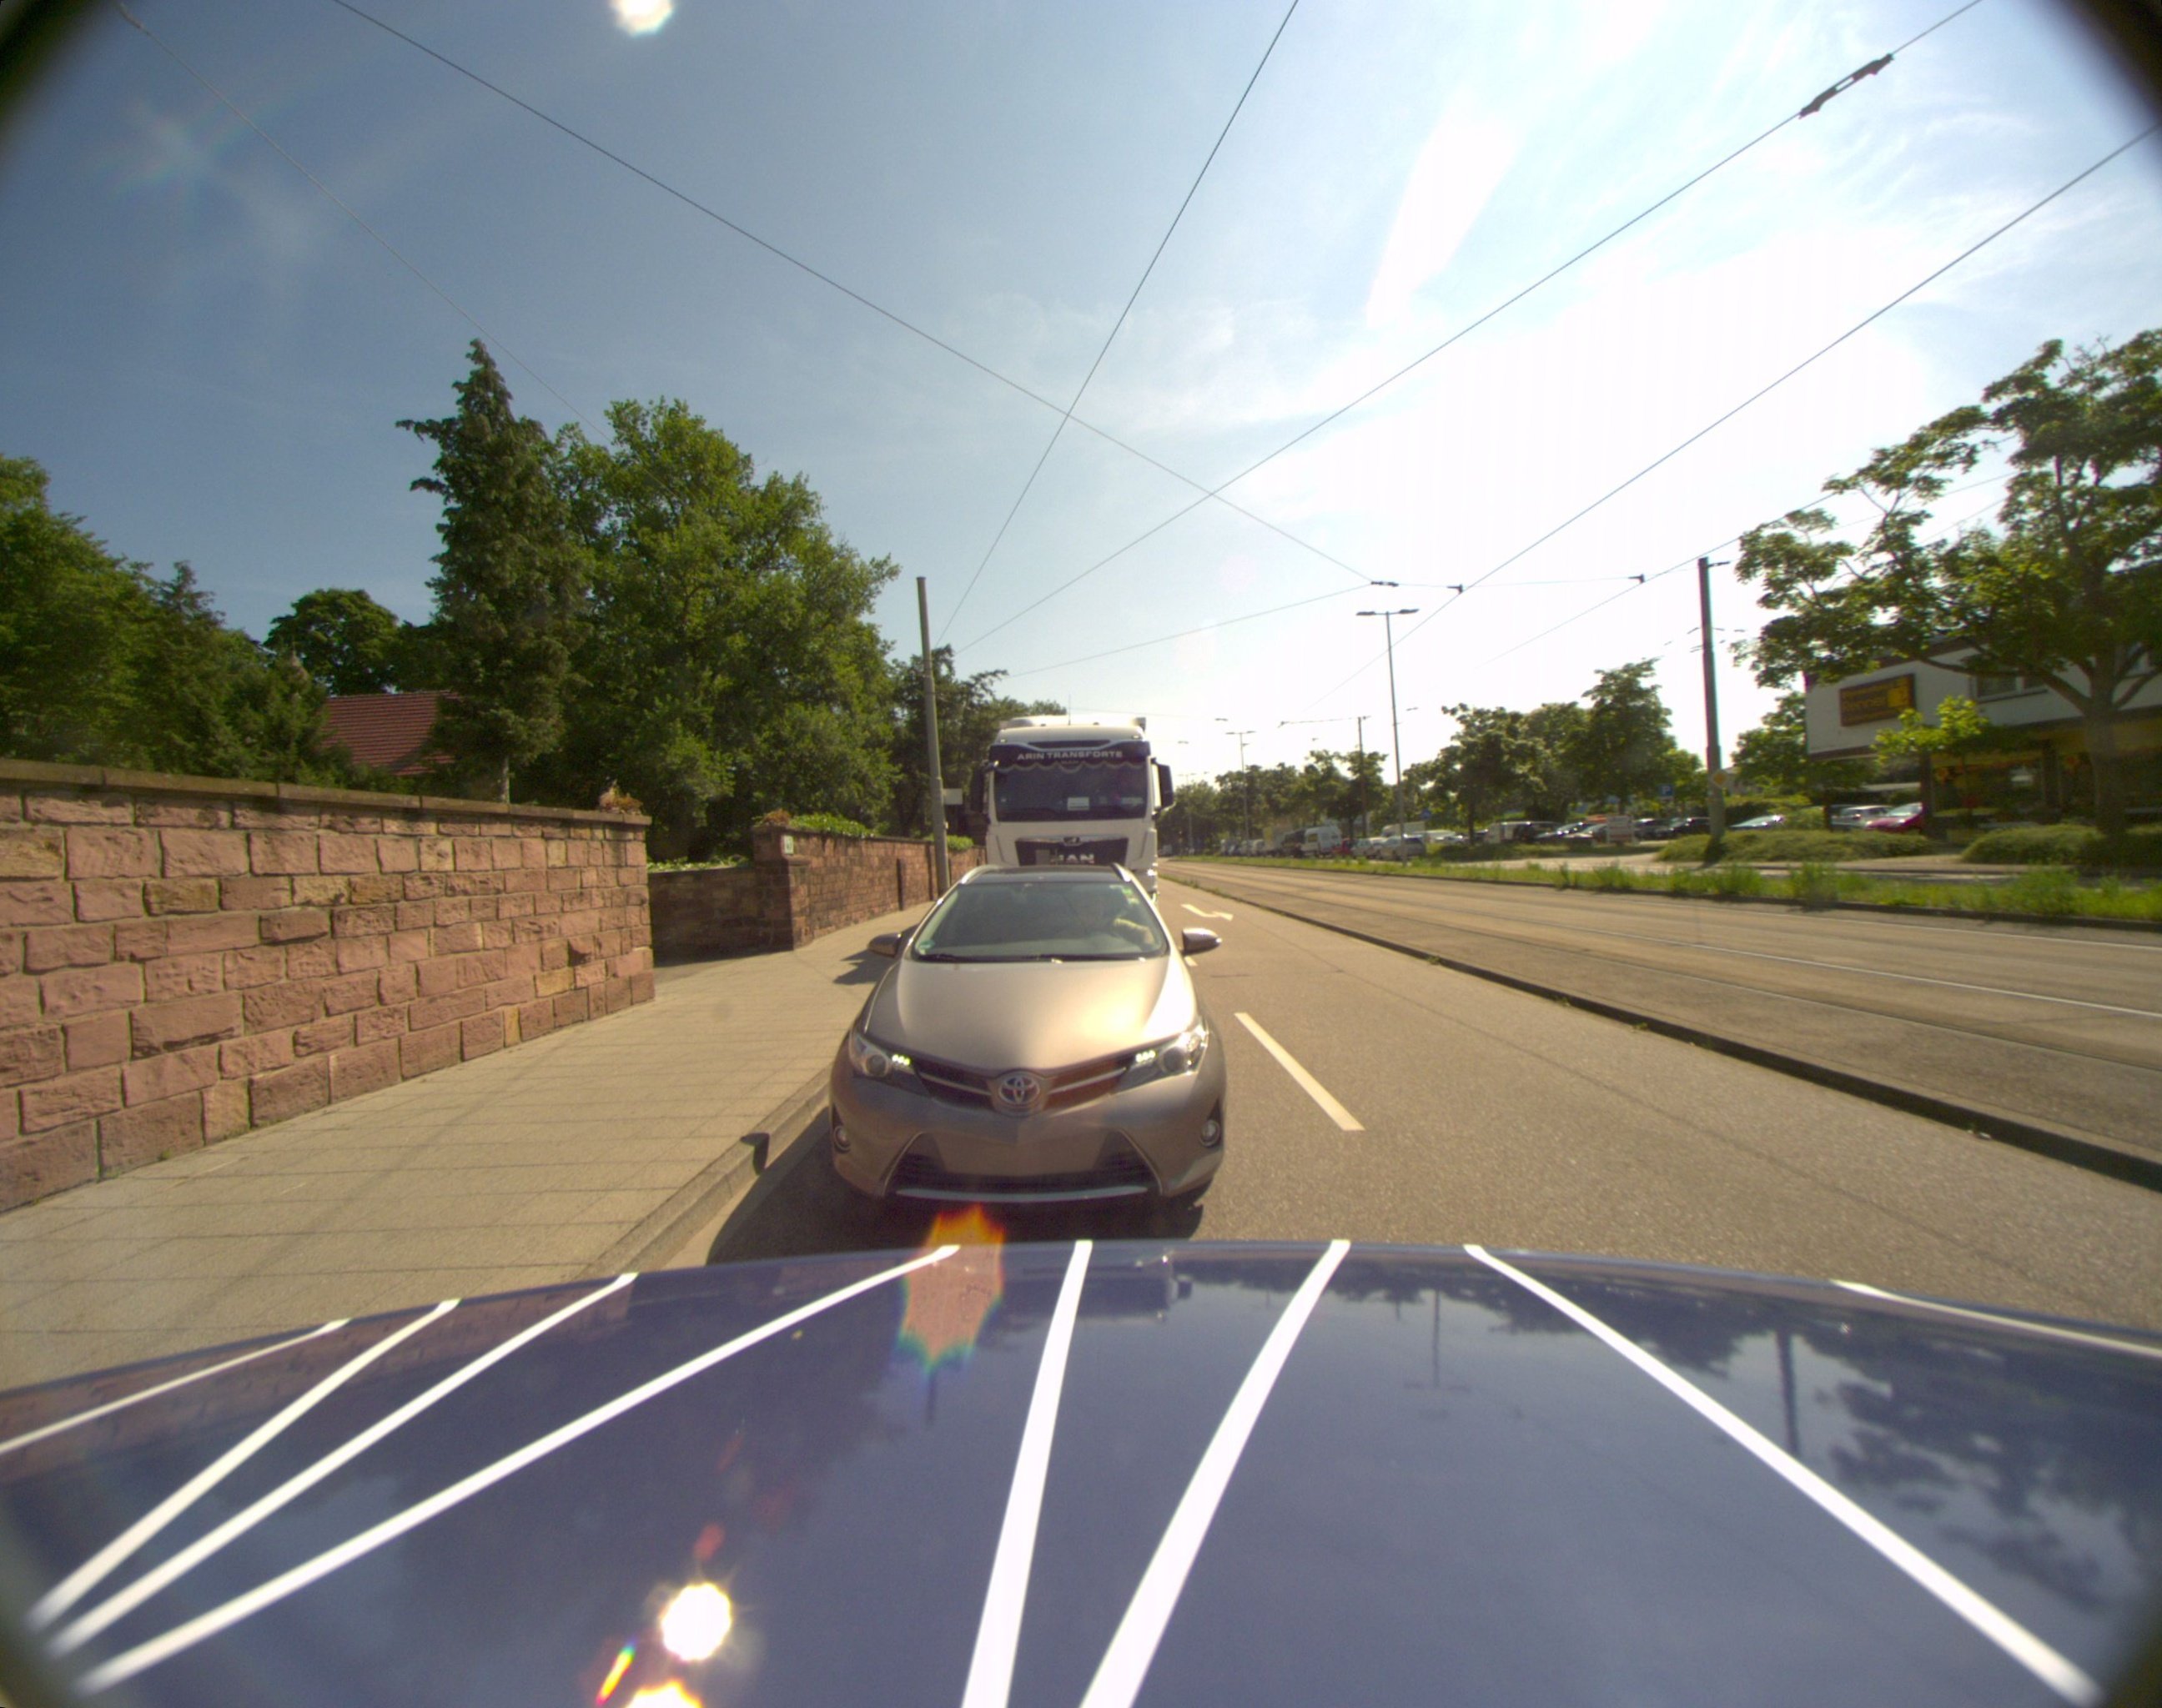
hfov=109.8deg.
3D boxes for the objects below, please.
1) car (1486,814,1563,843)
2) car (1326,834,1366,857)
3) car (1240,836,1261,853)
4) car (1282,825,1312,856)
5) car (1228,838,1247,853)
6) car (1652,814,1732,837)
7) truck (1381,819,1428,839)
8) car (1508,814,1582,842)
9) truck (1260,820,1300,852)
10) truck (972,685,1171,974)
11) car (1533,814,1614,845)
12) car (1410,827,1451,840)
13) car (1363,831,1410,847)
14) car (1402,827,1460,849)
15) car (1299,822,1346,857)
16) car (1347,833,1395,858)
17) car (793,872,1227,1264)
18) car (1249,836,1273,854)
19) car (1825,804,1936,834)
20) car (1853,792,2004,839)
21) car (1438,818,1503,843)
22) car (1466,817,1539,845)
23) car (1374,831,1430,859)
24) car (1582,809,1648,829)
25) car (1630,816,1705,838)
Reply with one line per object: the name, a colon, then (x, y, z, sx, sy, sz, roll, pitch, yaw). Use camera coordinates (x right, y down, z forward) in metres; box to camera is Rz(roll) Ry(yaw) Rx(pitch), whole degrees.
car: (30.683, -1.761, 52.669, 4.117, 1.728, 1.990, -3, 1, -2)
car: (20.465, -0.639, 58.753, 1.675, 1.524, 3.793, -6, 0, 1)
car: (20.940, -1.168, 94.217, 1.502, 1.835, 4.059, -6, 0, 0)
car: (19.963, -1.210, 70.327, 1.502, 2.609, 4.007, -6, 0, 1)
car: (20.598, -1.069, 100.070, 1.502, 1.775, 3.687, -6, 0, 0)
car: (44.018, -2.043, 54.795, 4.252, 1.327, 1.676, -3, 0, 2)
truck: (44.755, -3.509, 105.131, 5.652, 2.367, 1.990, -3, 1, -2)
car: (30.568, -1.706, 50.144, 3.810, 1.625, 1.676, -3, 1, 2)
truck: (20.547, -1.784, 78.675, 2.508, 2.917, 5.903, -6, 0, 2)
truck: (-0.034, -0.383, 15.119, 2.628, 3.906, 9.285, -2, 1, 1)
car: (30.509, -1.515, 47.117, 3.810, 1.625, 1.676, -3, 1, 2)
car: (43.714, -2.603, 95.114, 4.253, 1.327, 1.676, -3, 0, 1)
car: (32.297, -1.577, 80.398, 4.253, 1.327, 1.676, -3, 0, 1)
car: (31.154, -1.387, 67.881, 2.594, 1.800, 5.741, -3, 0, 1)
car: (20.269, -1.214, 63.988, 2.062, 2.638, 5.203, -6, 0, 1)
car: (20.435, -0.617, 53.655, 1.675, 1.524, 4.256, -6, 0, 1)
car: (-0.258, 0.891, 4.978, 1.654, 1.374, 4.000, -2, 0, 0)
car: (20.634, -1.033, 87.370, 1.502, 1.793, 4.633, -6, 0, 1)
car: (44.356, -1.932, 42.216, 4.252, 1.327, 1.676, -3, 0, 2)
car: (35.257, -1.576, 31.684, 4.252, 1.595, 1.676, -3, 1, 2)
car: (31.218, -1.862, 60.978, 4.117, 1.728, 1.990, -3, 1, -2)
car: (30.522, -1.673, 55.140, 4.117, 1.728, 1.990, -3, 1, -2)
car: (20.279, -0.527, 48.168, 1.675, 1.524, 4.256, -6, 0, 1)
car: (43.942, -2.899, 62.584, 4.254, 1.327, 1.676, -3, 0, -1)
car: (44.234, -2.019, 57.381, 4.252, 1.327, 1.676, -3, 0, 2)
